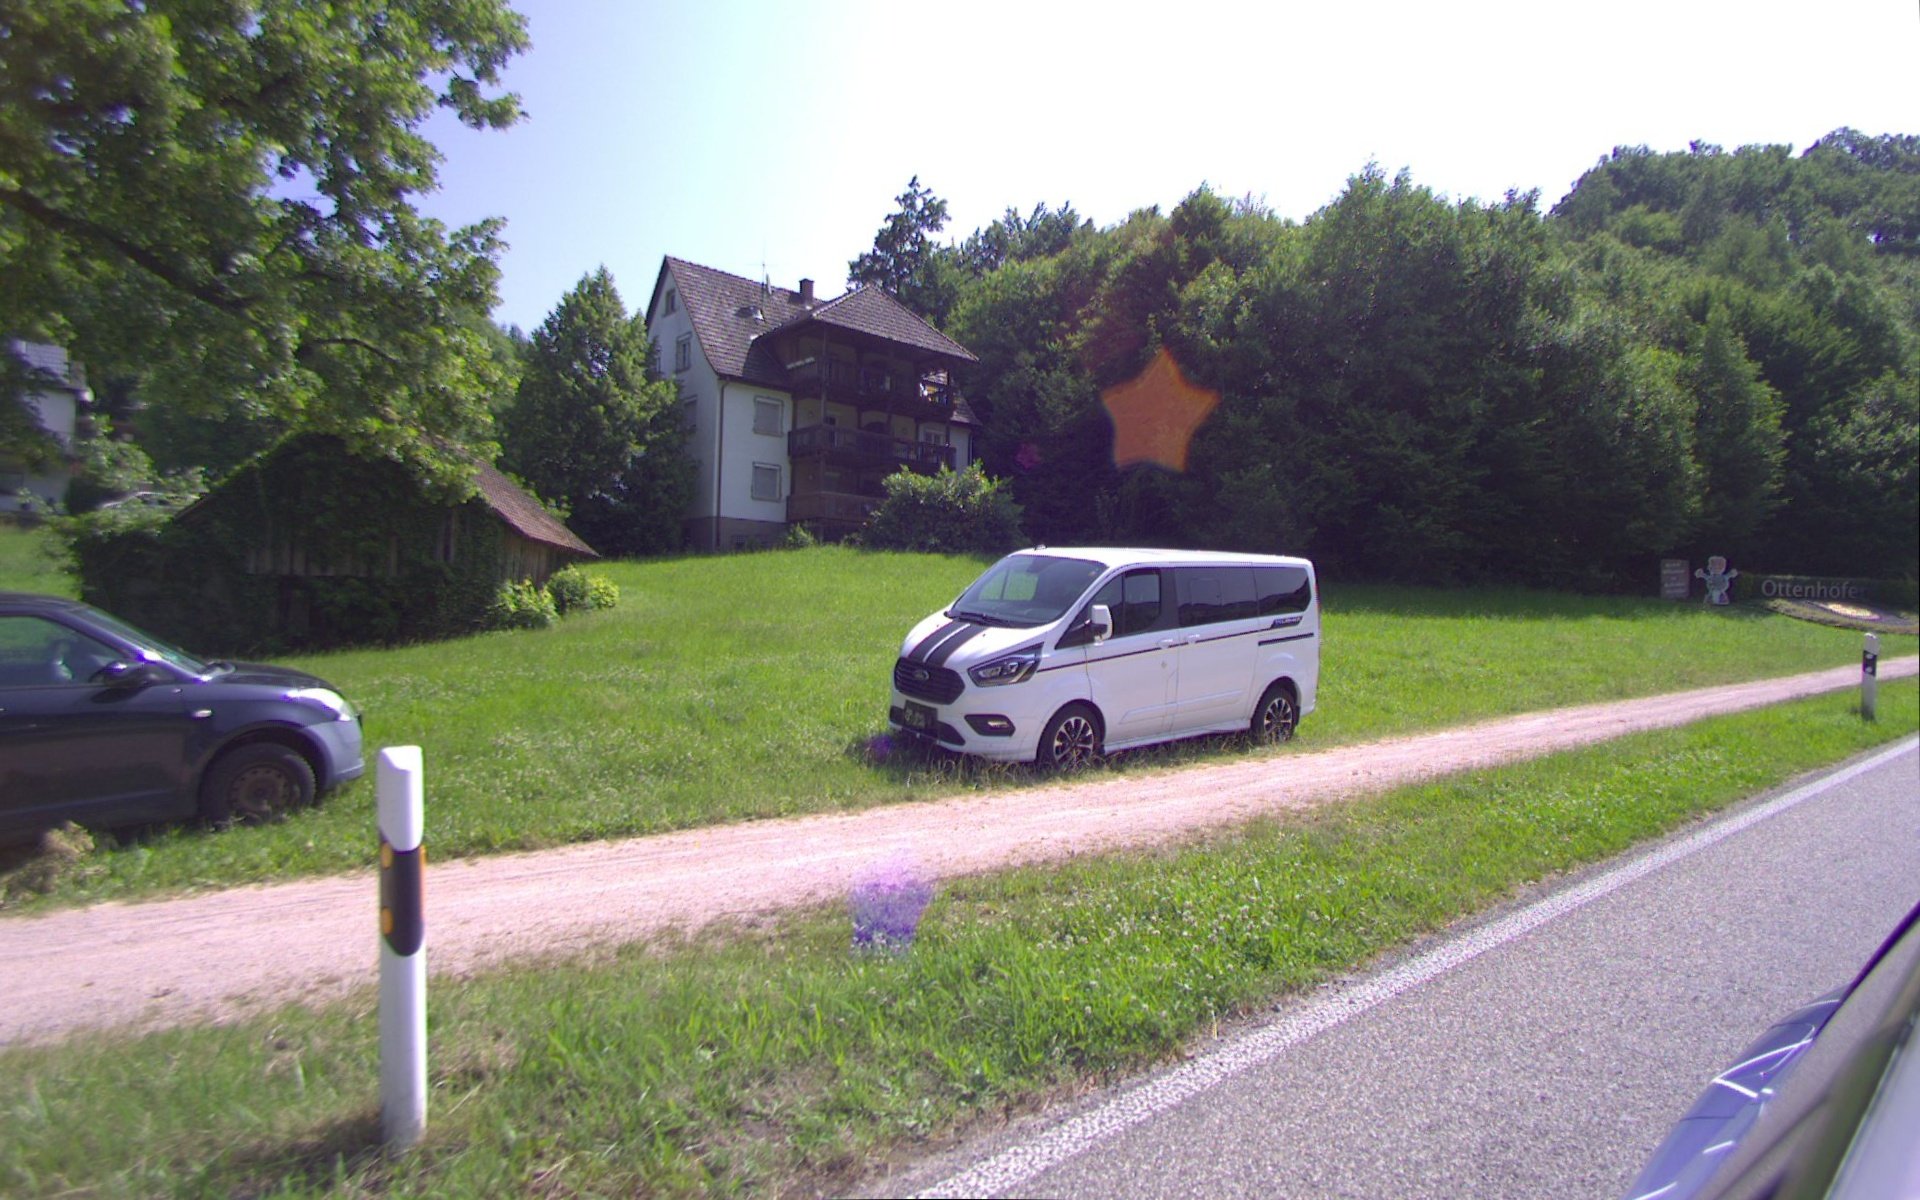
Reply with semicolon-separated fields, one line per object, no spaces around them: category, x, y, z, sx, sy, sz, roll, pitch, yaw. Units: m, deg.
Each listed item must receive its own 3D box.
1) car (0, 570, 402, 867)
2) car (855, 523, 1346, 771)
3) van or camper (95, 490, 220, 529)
car;-5.504;0.599;5.838;1.671;1.474;3.665;3;4;39
car;1.554;0.309;10.158;4.779;1.870;2.006;0;5;-37
van or camper;-42.742;-4.768;53.989;2.025;1.662;4.969;1;1;42
